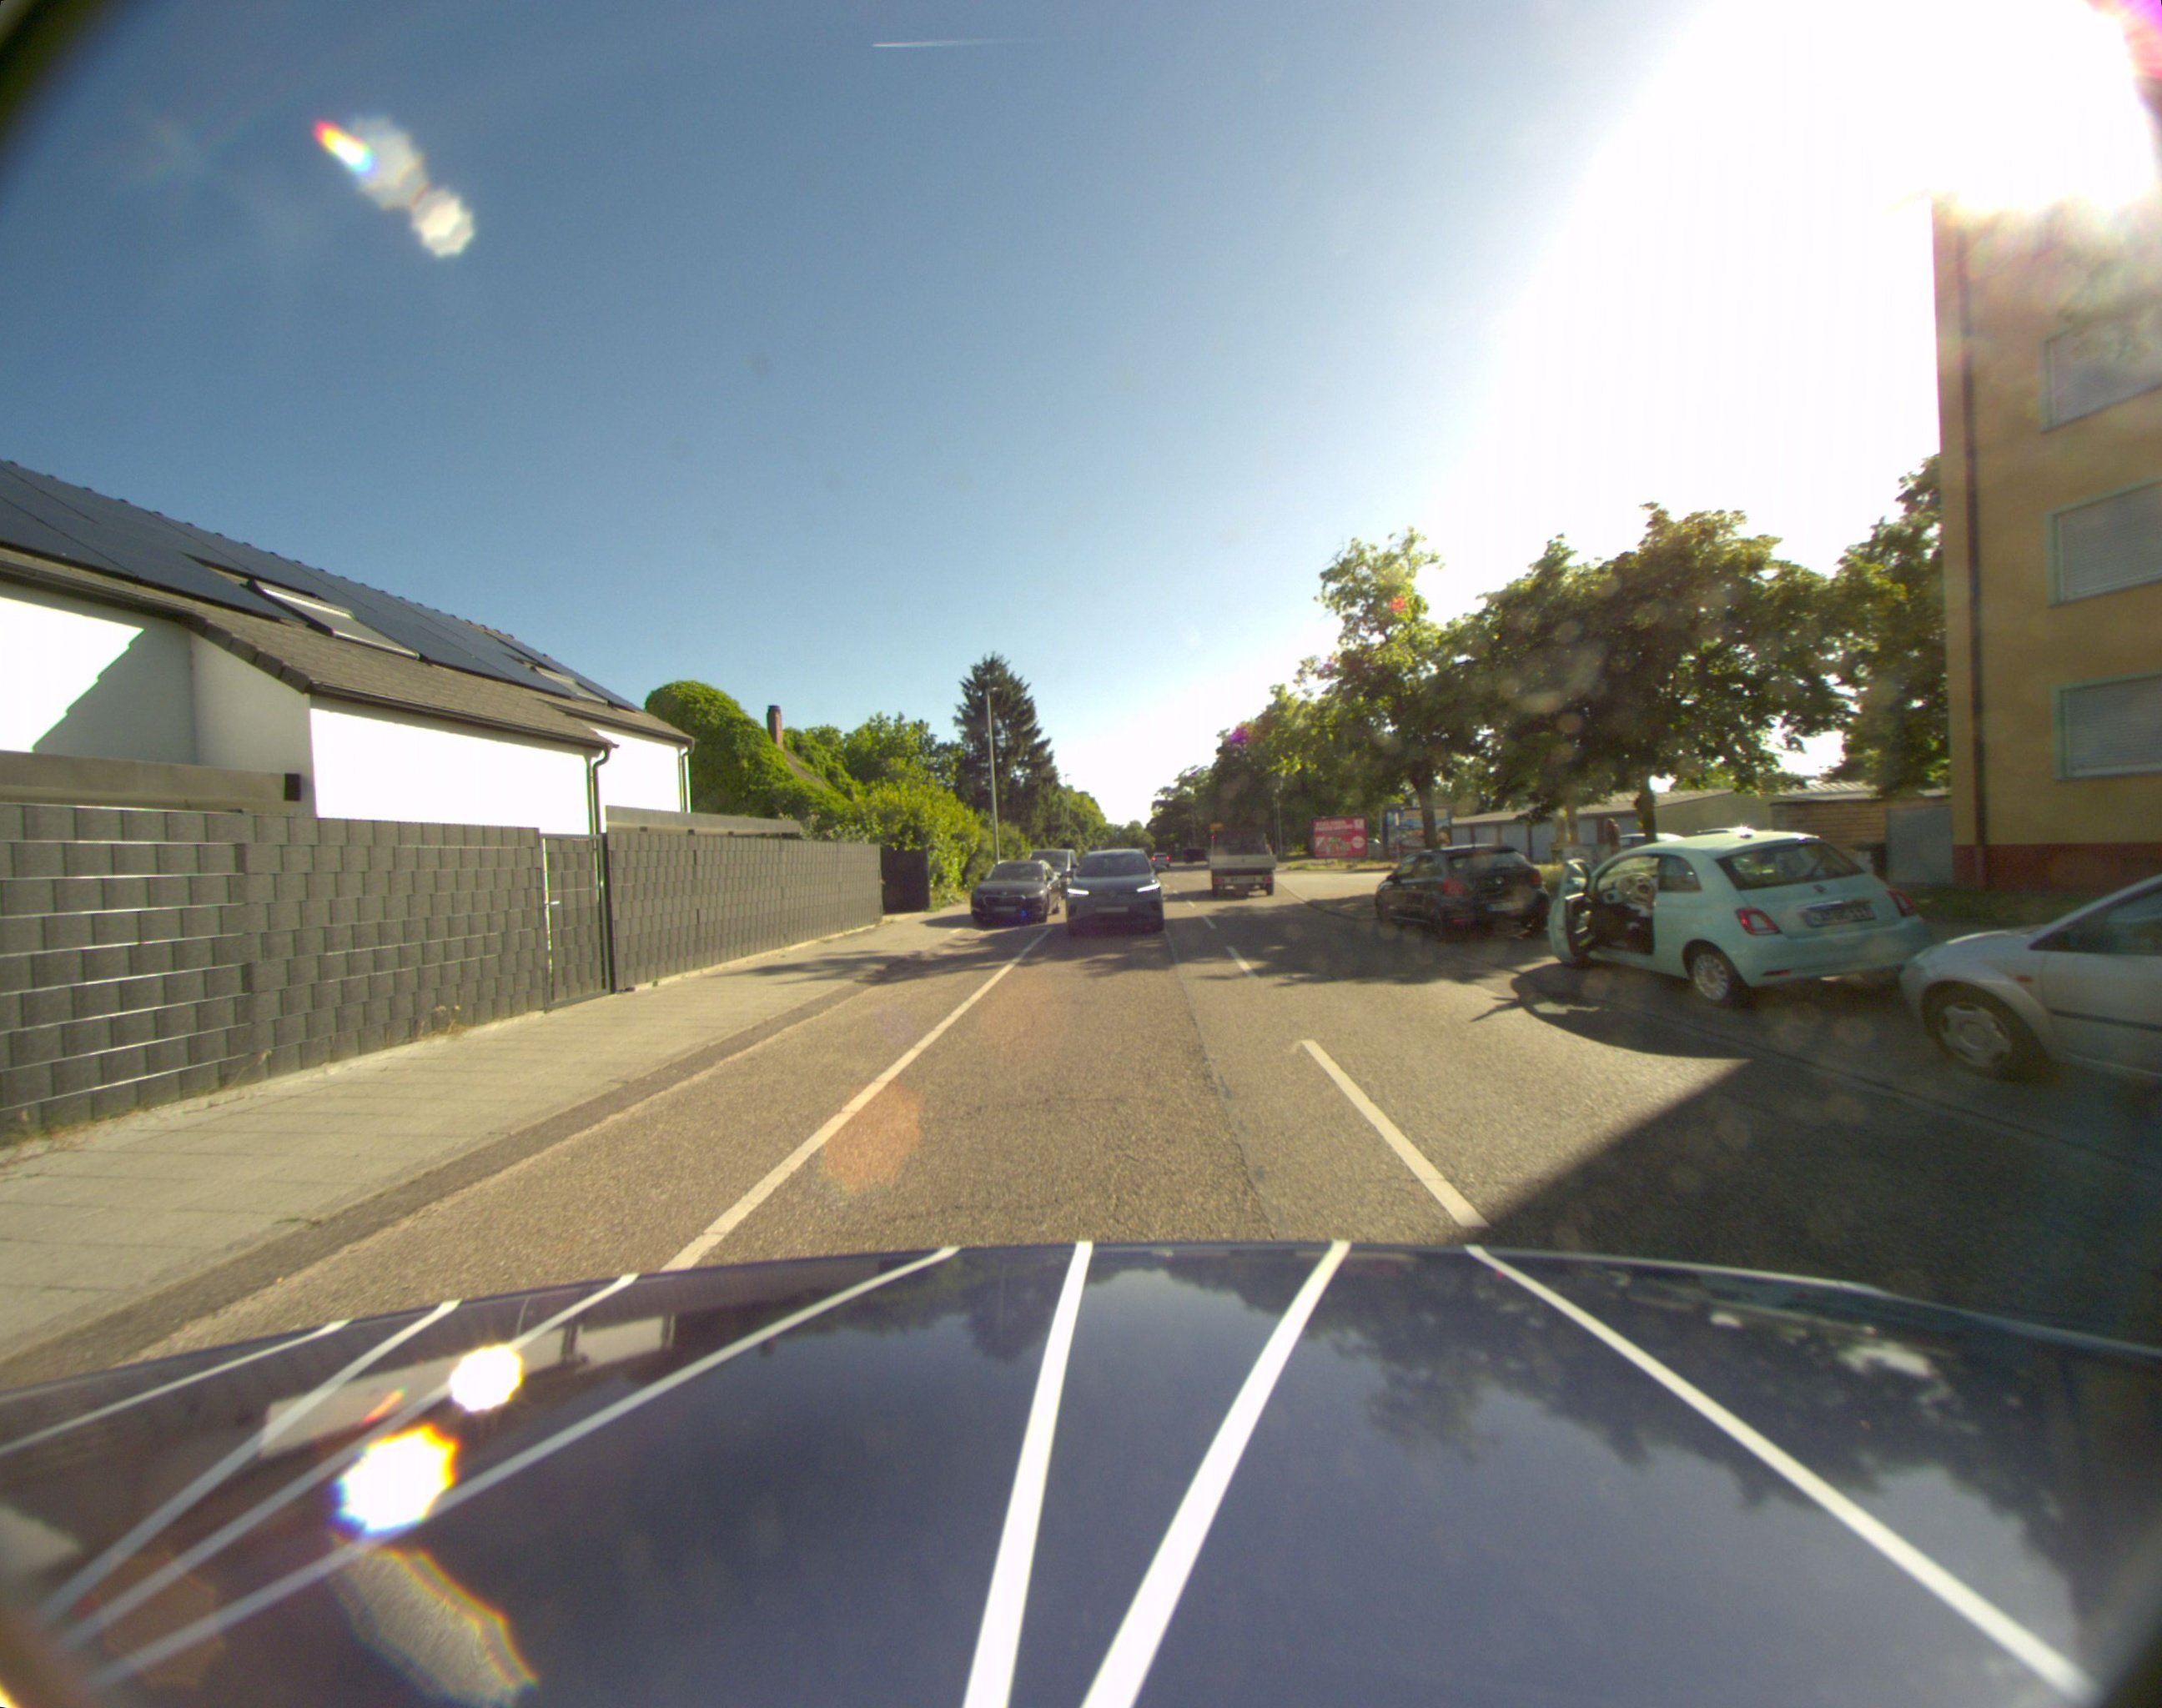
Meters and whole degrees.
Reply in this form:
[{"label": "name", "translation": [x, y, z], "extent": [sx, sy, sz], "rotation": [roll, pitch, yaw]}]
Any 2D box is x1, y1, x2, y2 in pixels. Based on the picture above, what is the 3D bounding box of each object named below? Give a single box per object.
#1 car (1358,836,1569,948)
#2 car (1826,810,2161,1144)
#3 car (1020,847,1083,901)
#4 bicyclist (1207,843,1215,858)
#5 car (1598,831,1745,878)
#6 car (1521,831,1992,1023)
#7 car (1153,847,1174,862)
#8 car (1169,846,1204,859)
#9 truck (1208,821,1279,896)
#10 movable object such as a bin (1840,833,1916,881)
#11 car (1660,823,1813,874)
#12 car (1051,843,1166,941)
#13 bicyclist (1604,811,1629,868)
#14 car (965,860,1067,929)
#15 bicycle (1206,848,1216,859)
[{"label": "car", "translation": [6.401, 0.520, 13.276], "extent": [1.704, 1.472, 4.051], "rotation": [-4, 2, 2]}, {"label": "car", "translation": [6.097, 0.594, 3.407], "extent": [1.661, 1.501, 4.001], "rotation": [-8, 0, 5]}, {"label": "car", "translation": [-1.089, 0.715, 30.196], "extent": [1.841, 1.896, 4.699], "rotation": [-3, 0, 5]}, {"label": "bicyclist", "translation": [13.962, -0.372, 81.646], "extent": [0.542, 1.632, 0.830], "rotation": [-3, 1, -2]}, {"label": "car", "translation": [20.496, 0.034, 26.592], "extent": [1.734, 1.455, 3.878], "rotation": [-3, 0, -9]}, {"label": "car", "translation": [6.581, 0.542, 8.144], "extent": [1.704, 1.514, 4.052], "rotation": [-1, 2, 5]}, {"label": "car", "translation": [8.350, 0.017, 77.375], "extent": [1.841, 1.480, 4.890], "rotation": [-2, 0, 3]}, {"label": "car", "translation": [13.257, -0.200, 95.458], "extent": [3.999, 1.559, 1.710], "rotation": [-2, 0, -5]}, {"label": "truck", "translation": [5.695, 0.089, 27.213], "extent": [2.133, 2.321, 6.446], "rotation": [-2, 1, 10]}, {"label": "movable object such as a bin", "translation": [15.785, 0.053, 15.066], "extent": [0.698, 0.905, 0.746], "rotation": [-2, 0, -4]}, {"label": "car", "translation": [23.238, -0.169, 27.143], "extent": [1.703, 1.612, 3.877], "rotation": [-3, 0, -12]}, {"label": "car", "translation": [0.696, 0.668, 15.930], "extent": [1.992, 1.631, 4.365], "rotation": [-4, 1, 5]}, {"label": "bicyclist", "translation": [15.810, -0.425, 22.423], "extent": [0.390, 1.675, 0.381], "rotation": [-4, 0, -28]}, {"label": "car", "translation": [-1.509, 0.935, 19.564], "extent": [1.769, 1.471, 4.993], "rotation": [-1, 0, 5]}, {"label": "bicycle", "translation": [13.964, -0.098, 81.592], "extent": [0.528, 1.135, 2.025], "rotation": [-3, 0, -2]}]
